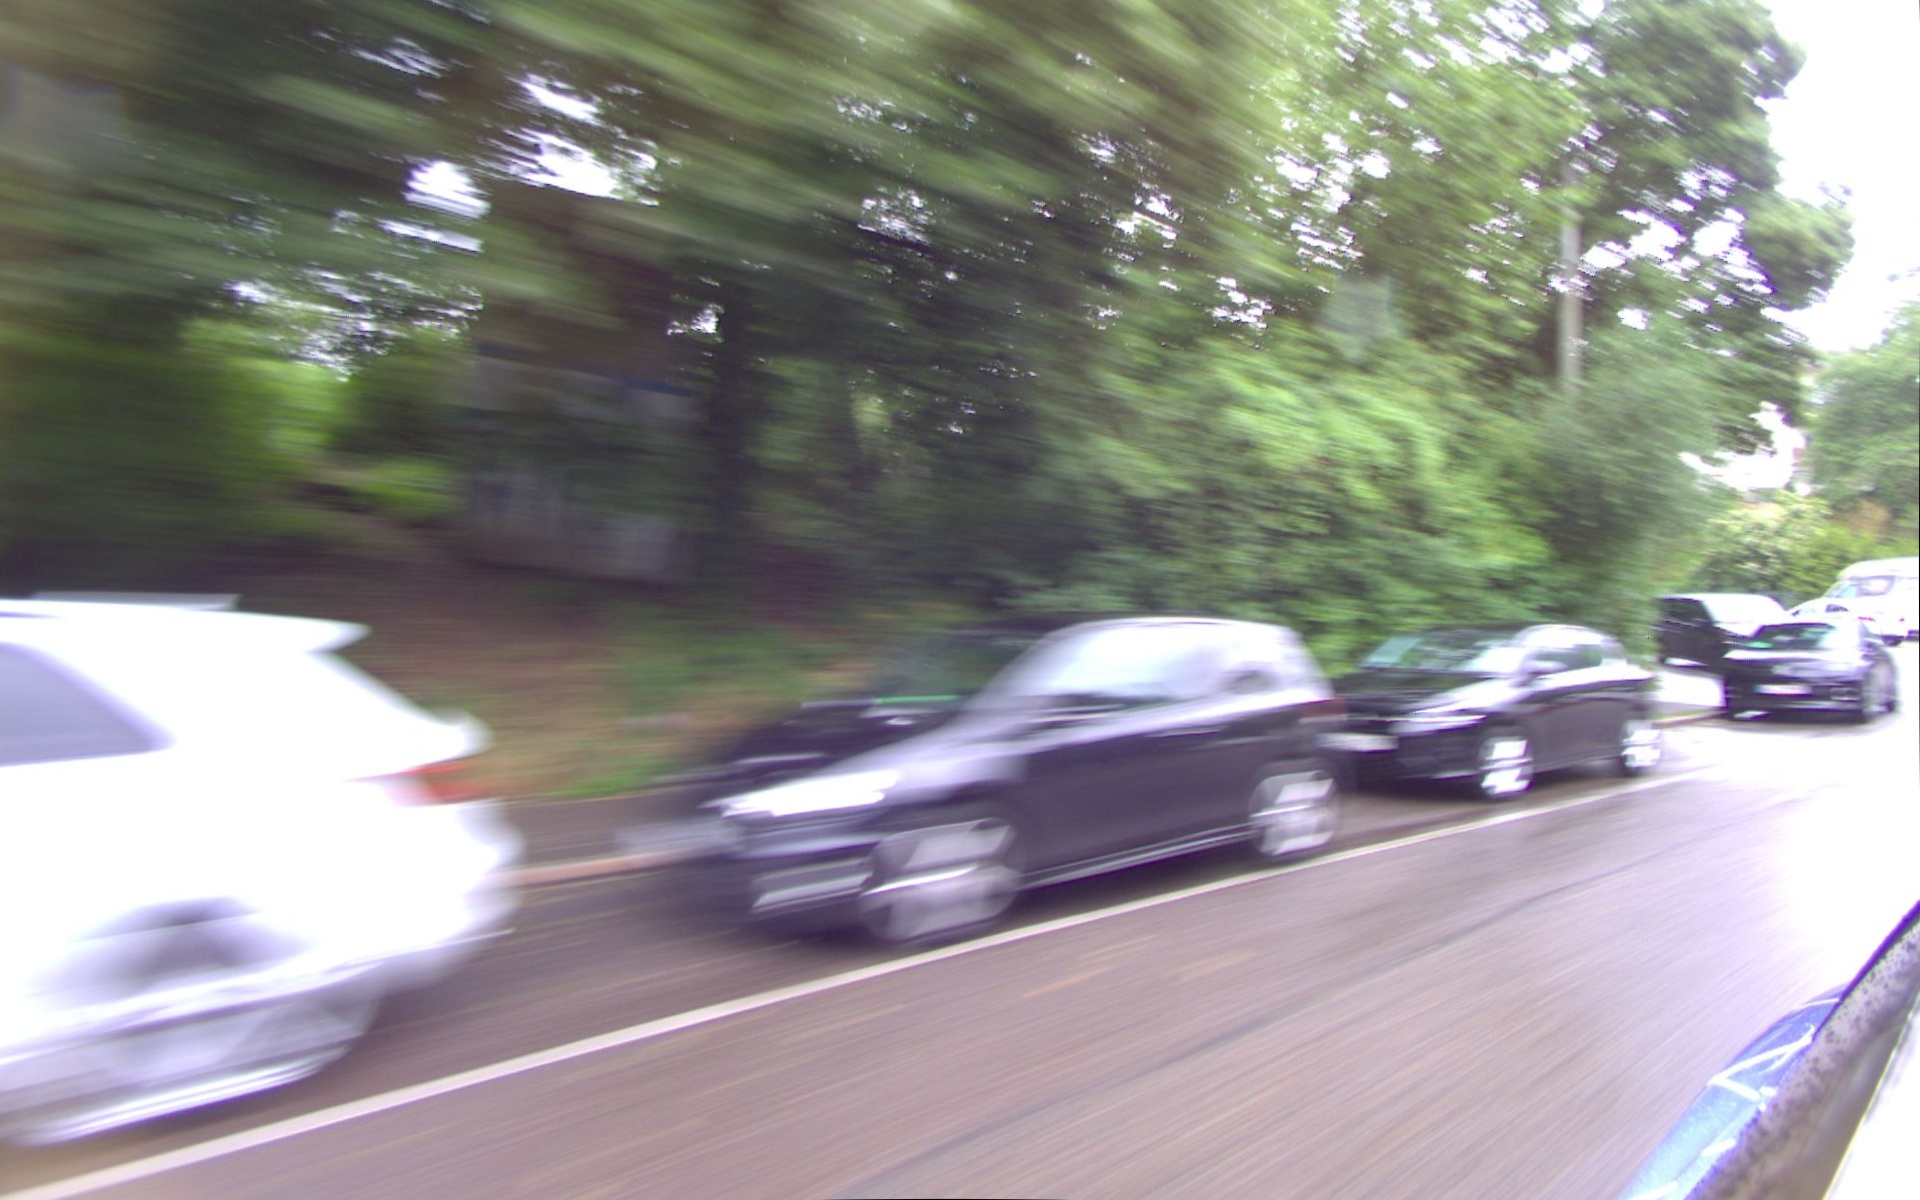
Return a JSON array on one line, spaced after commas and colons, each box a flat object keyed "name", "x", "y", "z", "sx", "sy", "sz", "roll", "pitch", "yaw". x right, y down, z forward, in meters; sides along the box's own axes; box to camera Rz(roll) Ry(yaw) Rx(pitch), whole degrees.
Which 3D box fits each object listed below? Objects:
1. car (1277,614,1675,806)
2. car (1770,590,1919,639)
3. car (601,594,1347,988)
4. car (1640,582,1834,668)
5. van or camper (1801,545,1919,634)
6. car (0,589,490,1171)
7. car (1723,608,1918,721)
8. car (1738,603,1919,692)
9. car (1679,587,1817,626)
[{"name": "car", "x": 4.760, "y": 0.854, "z": 9.185, "sx": 3.749, "sy": 1.408, "sz": 1.594, "roll": 1, "pitch": -3, "yaw": -35}, {"name": "car", "x": 28.771, "y": 0.471, "z": 32.869, "sx": 1.576, "sy": 1.515, "sz": 4.033, "roll": 0, "pitch": -1, "yaw": -2}, {"name": "car", "x": 0.263, "y": 0.744, "z": 5.563, "sx": 3.894, "sy": 1.442, "sz": 1.664, "roll": 1, "pitch": -2, "yaw": -37}, {"name": "car", "x": 19.635, "y": 0.584, "z": 25.913, "sx": 1.970, "sy": 1.910, "sz": 5.015, "roll": -3, "pitch": 0, "yaw": 14}, {"name": "van or camper", "x": 33.432, "y": -0.388, "z": 34.721, "sx": 2.410, "sy": 3.004, "sz": 7.533, "roll": -1, "pitch": 0, "yaw": -5}, {"name": "car", "x": -3.578, "y": 0.671, "z": 2.531, "sx": 4.025, "sy": 1.418, "sz": 1.757, "roll": 1, "pitch": -1, "yaw": -42}, {"name": "car", "x": 13.326, "y": 0.932, "z": 15.614, "sx": 3.678, "sy": 1.508, "sz": 1.629, "roll": 0, "pitch": -3, "yaw": -40}, {"name": "car", "x": 17.347, "y": 0.885, "z": 20.458, "sx": 1.891, "sy": 1.507, "sz": 4.822, "roll": -3, "pitch": -1, "yaw": 30}, {"name": "car", "x": 32.339, "y": 0.232, "z": 41.681, "sx": 1.874, "sy": 1.429, "sz": 4.142, "roll": 1, "pitch": 2, "yaw": -15}]
